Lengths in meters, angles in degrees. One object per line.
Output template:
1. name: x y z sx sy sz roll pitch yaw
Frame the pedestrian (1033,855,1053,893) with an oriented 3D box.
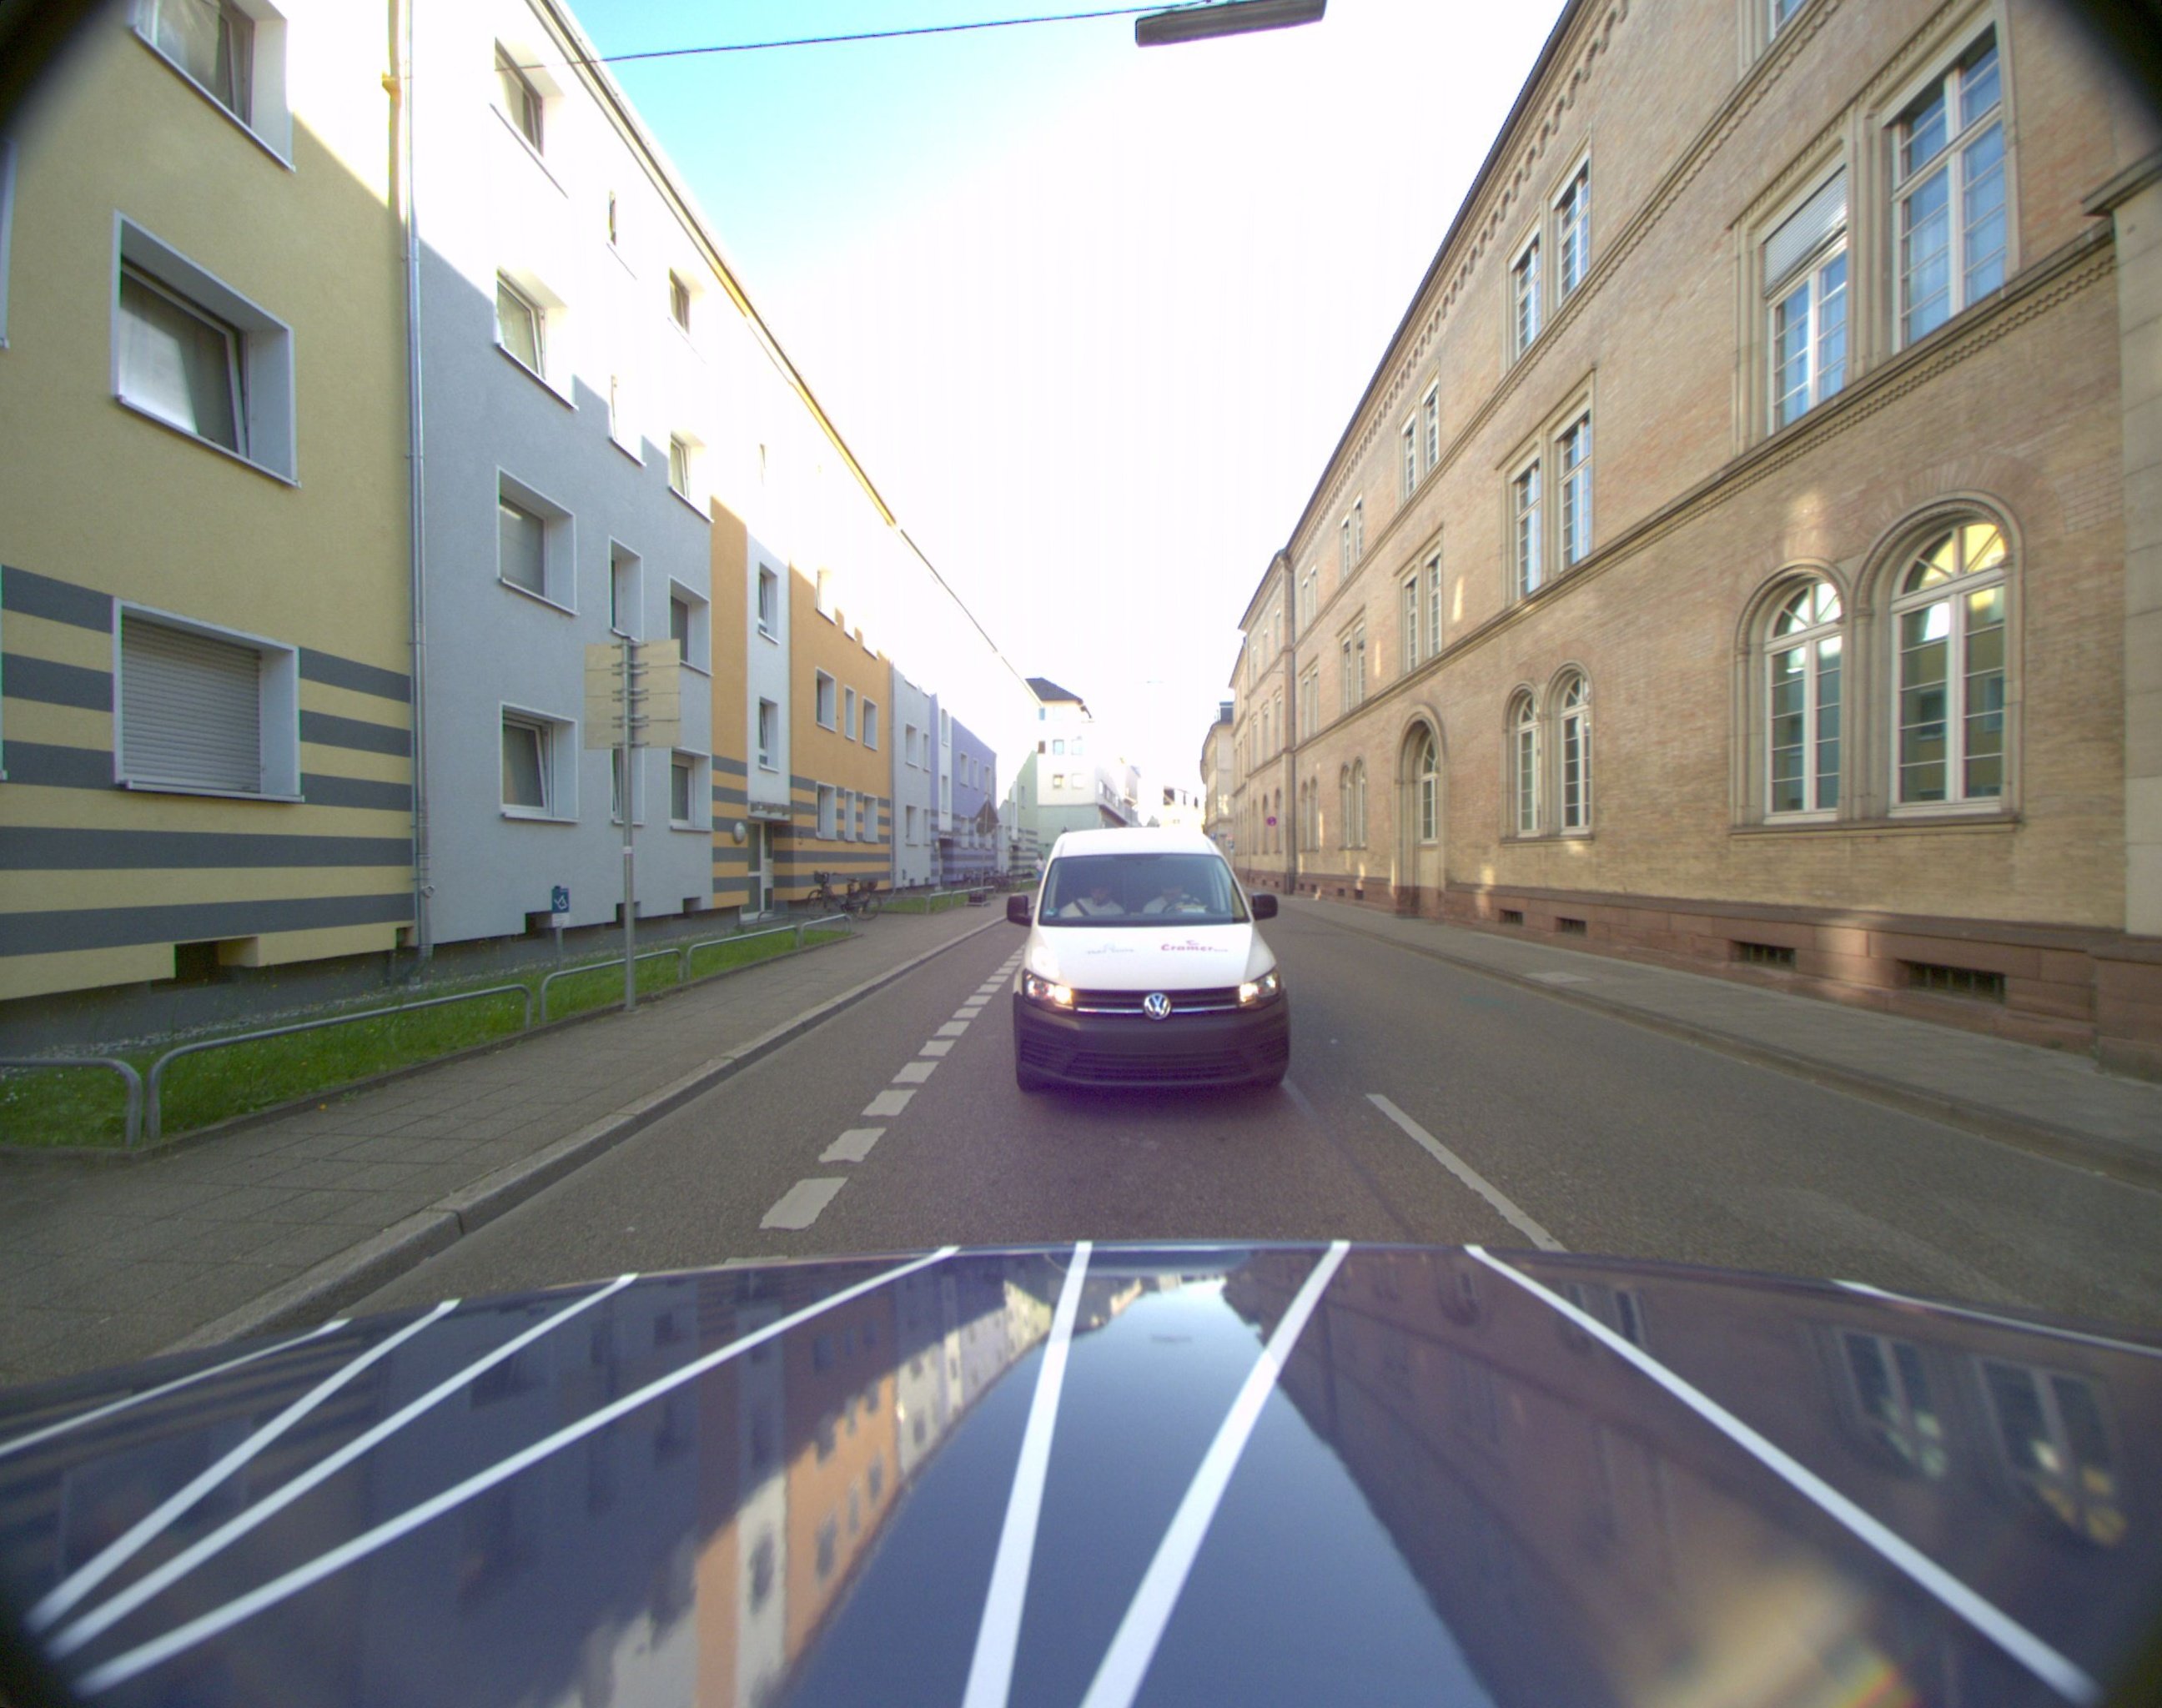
1. pedestrian: -1.652 0.870 33.252 0.705 1.627 0.833 2 2 5

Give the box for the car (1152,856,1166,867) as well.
1. car: 12.643 1.161 122.692 1.997 1.643 4.231 -2 1 9

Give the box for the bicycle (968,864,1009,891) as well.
1. bicycle: -4.036 1.007 33.127 1.676 1.145 0.484 0 0 4

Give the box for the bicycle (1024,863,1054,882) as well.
1. bicycle: -2.520 1.138 46.044 1.779 1.145 0.484 0 0 0

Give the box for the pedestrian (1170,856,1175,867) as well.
1. pedestrian: 14.668 1.193 122.017 0.705 1.627 0.833 3 2 12

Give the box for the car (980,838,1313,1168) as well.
1. car: 0.390 0.771 6.743 1.769 1.761 5.331 -1 1 1

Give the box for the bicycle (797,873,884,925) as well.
1. bicycle: -5.390 1.004 17.097 1.780 1.116 0.484 0 0 -5

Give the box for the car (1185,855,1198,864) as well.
1. car: 22.104 1.047 152.014 1.996 1.643 4.233 -2 1 17

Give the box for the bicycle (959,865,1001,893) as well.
1. bicycle: -4.240 1.034 31.833 1.676 1.145 0.484 0 0 4

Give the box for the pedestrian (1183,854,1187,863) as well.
1. pedestrian: 18.927 0.870 138.146 0.704 1.627 0.833 3 2 14

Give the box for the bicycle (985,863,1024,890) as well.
1. bicycle: -3.377 0.990 33.672 1.676 1.145 0.484 0 0 4

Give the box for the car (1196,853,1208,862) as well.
1. car: 26.087 0.760 163.745 1.996 1.643 4.233 -2 1 17
